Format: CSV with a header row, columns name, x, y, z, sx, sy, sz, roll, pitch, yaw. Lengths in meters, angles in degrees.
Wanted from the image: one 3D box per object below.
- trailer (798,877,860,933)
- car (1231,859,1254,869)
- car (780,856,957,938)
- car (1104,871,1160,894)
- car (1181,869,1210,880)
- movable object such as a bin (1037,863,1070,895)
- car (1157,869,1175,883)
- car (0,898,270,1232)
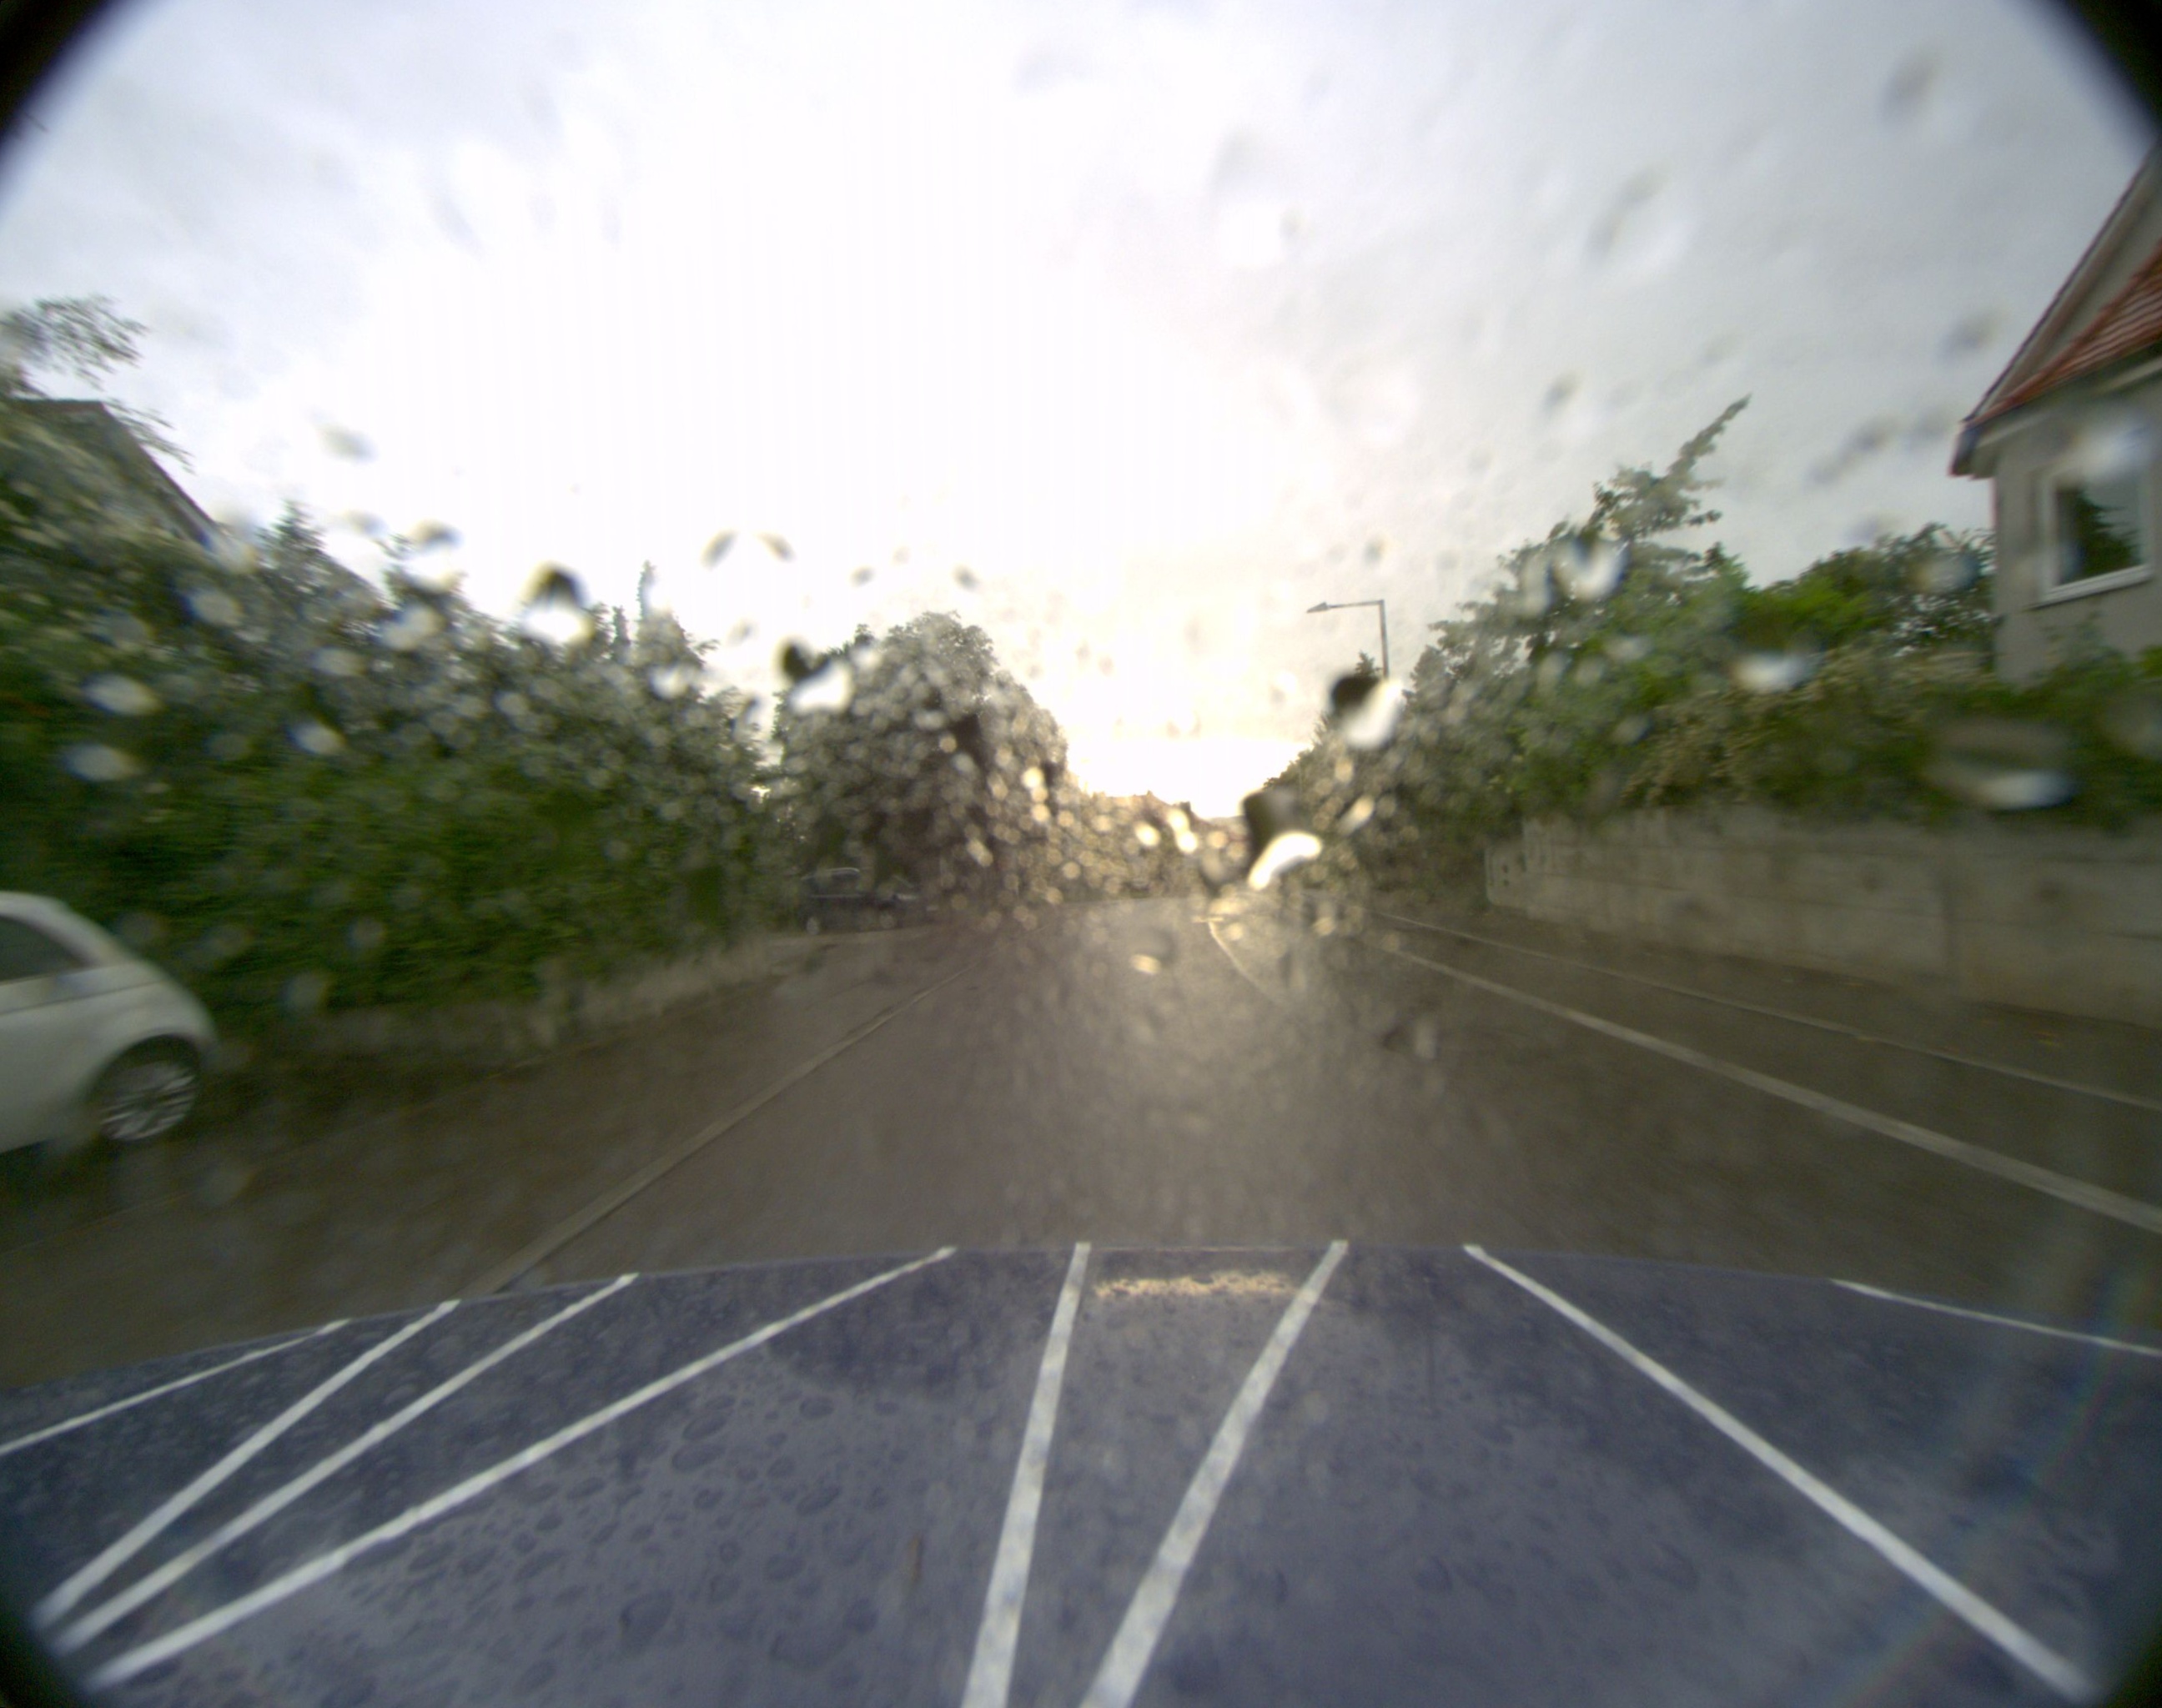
name,x,y,z,sx,sy,sz,roll,pitch,yaw
trailer,-9.212,1.853,28.030,1.765,1.811,3.280,-5,-2,-14
car,31.458,1.880,148.094,3.933,1.772,1.770,-2,2,-3
car,-5.766,1.177,20.569,4.337,1.706,1.731,-7,0,24
car,4.281,2.394,63.516,4.535,1.650,1.858,-3,-3,6
car,18.189,3.294,121.134,4.084,1.399,1.727,-7,-2,35
movable object such as a bin,-1.331,1.212,36.525,1.245,1.488,0.982,-2,-2,-21
car,11.248,2.901,100.567,1.724,1.554,3.792,-1,2,-4
car,-5.895,1.027,2.925,1.536,1.526,3.844,1,-1,-3
